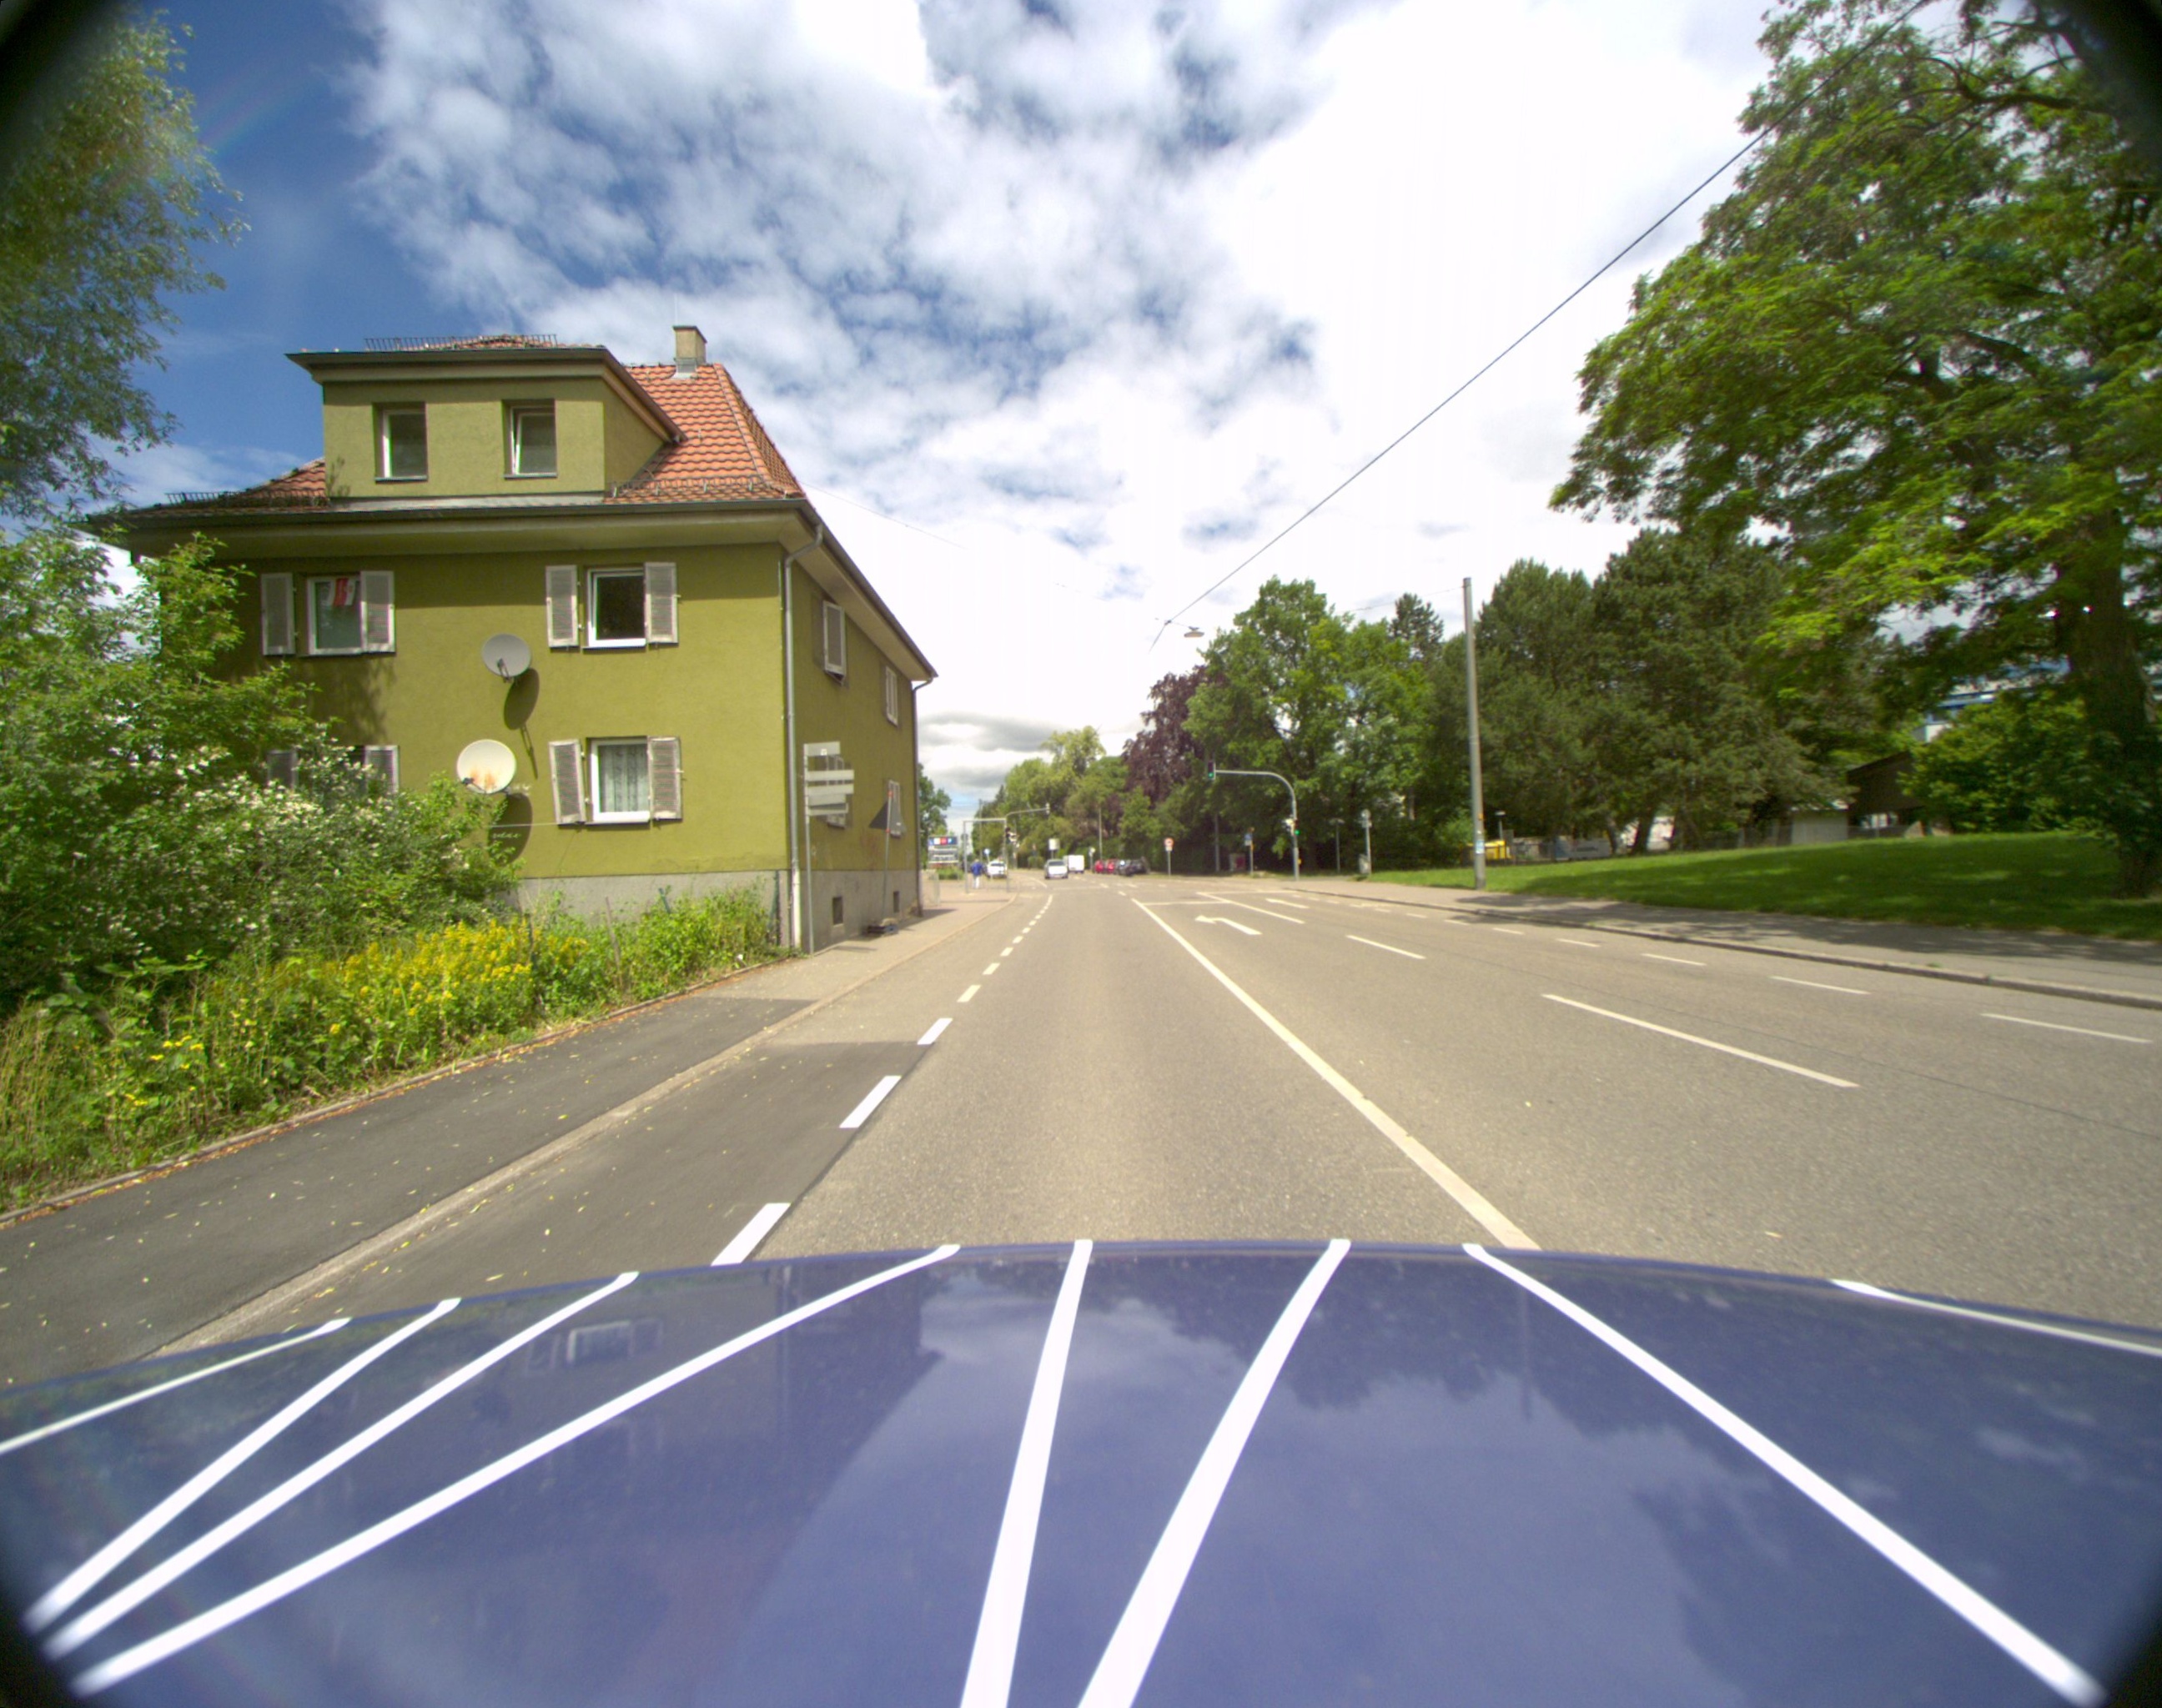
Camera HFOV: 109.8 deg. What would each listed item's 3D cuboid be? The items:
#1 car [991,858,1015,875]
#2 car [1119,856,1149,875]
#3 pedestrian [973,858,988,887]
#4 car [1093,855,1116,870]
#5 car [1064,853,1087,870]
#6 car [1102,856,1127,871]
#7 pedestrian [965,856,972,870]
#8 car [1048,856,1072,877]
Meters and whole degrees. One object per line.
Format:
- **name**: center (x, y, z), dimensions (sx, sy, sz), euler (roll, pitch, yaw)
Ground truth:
- **car**: center (-7.030, 1.118, 68.995), dimensions (1.799, 1.501, 3.999), euler (-1, 0, -1)
- **car**: center (4.686, 0.997, 67.529), dimensions (1.900, 1.501, 3.997), euler (0, 1, -7)
- **pedestrian**: center (-5.414, 0.993, 41.048), dimensions (0.729, 1.543, 1.056), euler (-2, 0, -10)
- **car**: center (2.471, 0.917, 82.195), dimensions (1.900, 1.501, 3.997), euler (0, 1, -7)
- **car**: center (-0.651, 0.821, 83.206), dimensions (1.800, 1.787, 4.499), euler (-1, 0, -9)
- **car**: center (3.349, 0.939, 77.211), dimensions (1.900, 1.501, 3.997), euler (0, 1, -7)
- **pedestrian**: center (-13.451, 1.089, 90.842), dimensions (0.723, 1.651, 0.777), euler (-4, 1, -4)
- **car**: center (-1.691, 1.011, 62.710), dimensions (1.781, 1.519, 3.999), euler (-3, 0, -1)
